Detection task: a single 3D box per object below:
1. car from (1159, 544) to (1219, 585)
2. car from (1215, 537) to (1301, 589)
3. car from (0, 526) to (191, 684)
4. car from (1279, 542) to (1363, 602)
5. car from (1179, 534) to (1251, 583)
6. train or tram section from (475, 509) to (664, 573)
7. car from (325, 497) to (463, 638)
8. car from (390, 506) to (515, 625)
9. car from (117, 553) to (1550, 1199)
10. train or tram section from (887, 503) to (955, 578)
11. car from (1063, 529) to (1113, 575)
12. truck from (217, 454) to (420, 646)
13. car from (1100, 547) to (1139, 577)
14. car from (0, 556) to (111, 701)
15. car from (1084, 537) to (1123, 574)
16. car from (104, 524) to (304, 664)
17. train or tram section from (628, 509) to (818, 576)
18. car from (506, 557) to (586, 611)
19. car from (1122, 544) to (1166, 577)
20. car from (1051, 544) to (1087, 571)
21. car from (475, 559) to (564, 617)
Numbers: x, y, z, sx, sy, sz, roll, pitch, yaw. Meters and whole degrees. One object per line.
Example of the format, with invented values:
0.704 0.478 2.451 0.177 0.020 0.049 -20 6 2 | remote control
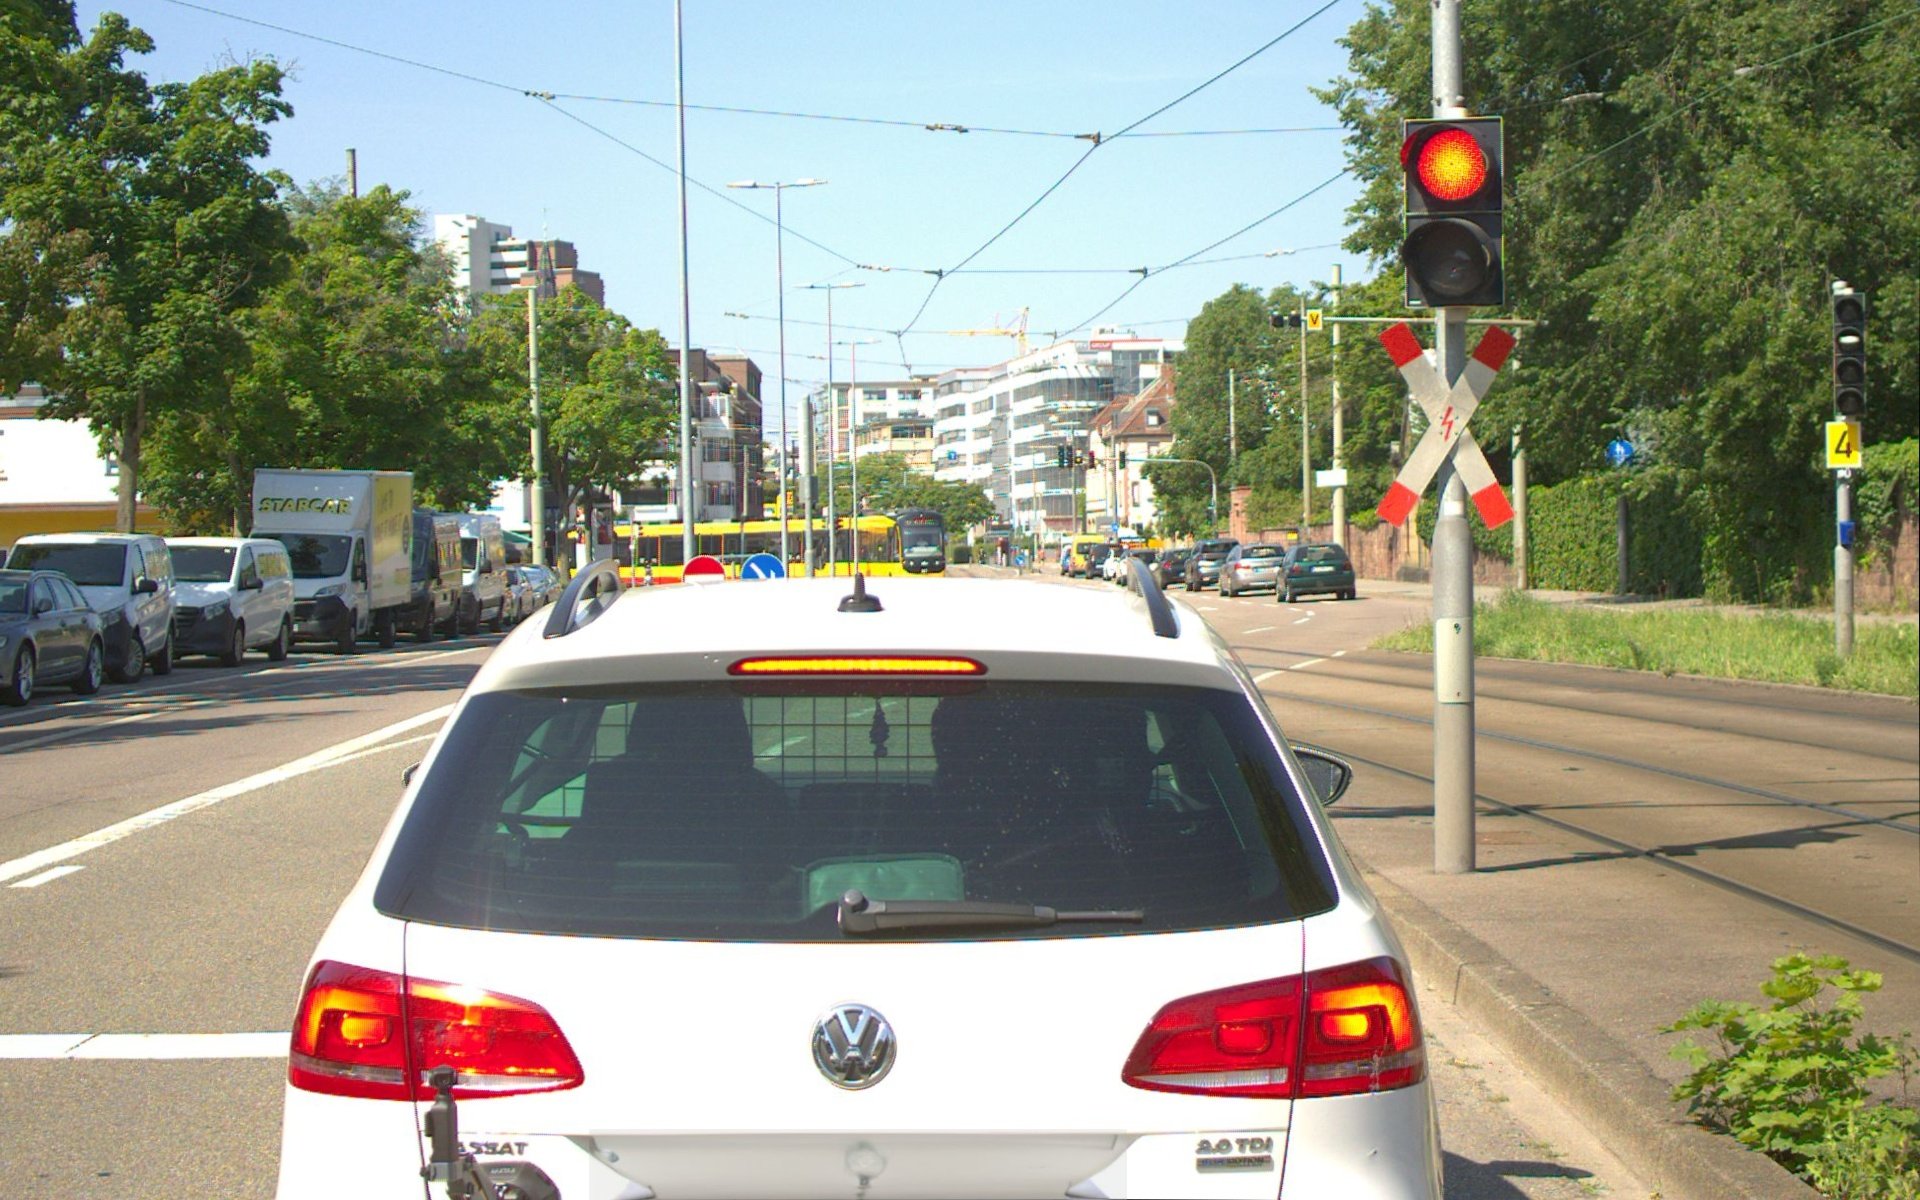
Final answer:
8.255 -1.299 124.439 1.745 1.403 3.913 1 1 -2 | car
8.323 -1.053 96.295 1.861 1.412 4.325 1 1 -2 | car
-11.482 0.018 45.324 1.843 1.930 5.195 -1 1 -4 | car
8.697 -0.702 83.050 1.746 1.383 3.913 1 1 2 | car
8.206 -1.345 110.828 1.861 1.508 3.913 1 1 -2 | car
-20.449 -3.099 179.414 10.793 3.241 2.304 1 0 33 | train or tram section
-11.170 -0.669 68.118 1.843 2.659 5.003 -1 1 0 | car
-11.164 -0.781 75.972 1.843 2.486 5.857 -1 1 0 | car
-0.210 0.661 6.229 1.768 1.441 3.913 1 1 -1 | car
-1.829 -2.655 156.259 2.301 3.241 11.276 1 0 -4 | train or tram section
7.111 -2.665 191.547 2.463 2.490 5.910 1 0 -1 | car
-11.160 -0.888 60.352 2.356 3.112 6.892 -1 1 -1 | truck
7.353 -1.747 158.713 1.581 1.341 3.454 1 0 -1 | car
-11.004 0.300 38.721 1.843 1.511 4.197 -1 1 -1 | car
7.136 -2.216 171.282 1.691 1.806 3.454 1 0 -1 | car
-11.353 -0.134 51.952 1.843 1.954 5.134 -1 1 0 | car
-11.998 -2.922 173.072 10.796 3.241 2.303 1 0 39 | train or tram section
-11.607 -0.462 96.604 1.780 1.428 4.038 -1 1 -1 | car
7.687 -1.653 143.514 1.581 1.341 3.454 1 0 -1 | car
6.518 -2.534 205.603 1.993 1.590 4.000 1 0 0 | car
-11.637 -0.345 90.949 1.843 1.428 4.038 -1 1 -1 | car
